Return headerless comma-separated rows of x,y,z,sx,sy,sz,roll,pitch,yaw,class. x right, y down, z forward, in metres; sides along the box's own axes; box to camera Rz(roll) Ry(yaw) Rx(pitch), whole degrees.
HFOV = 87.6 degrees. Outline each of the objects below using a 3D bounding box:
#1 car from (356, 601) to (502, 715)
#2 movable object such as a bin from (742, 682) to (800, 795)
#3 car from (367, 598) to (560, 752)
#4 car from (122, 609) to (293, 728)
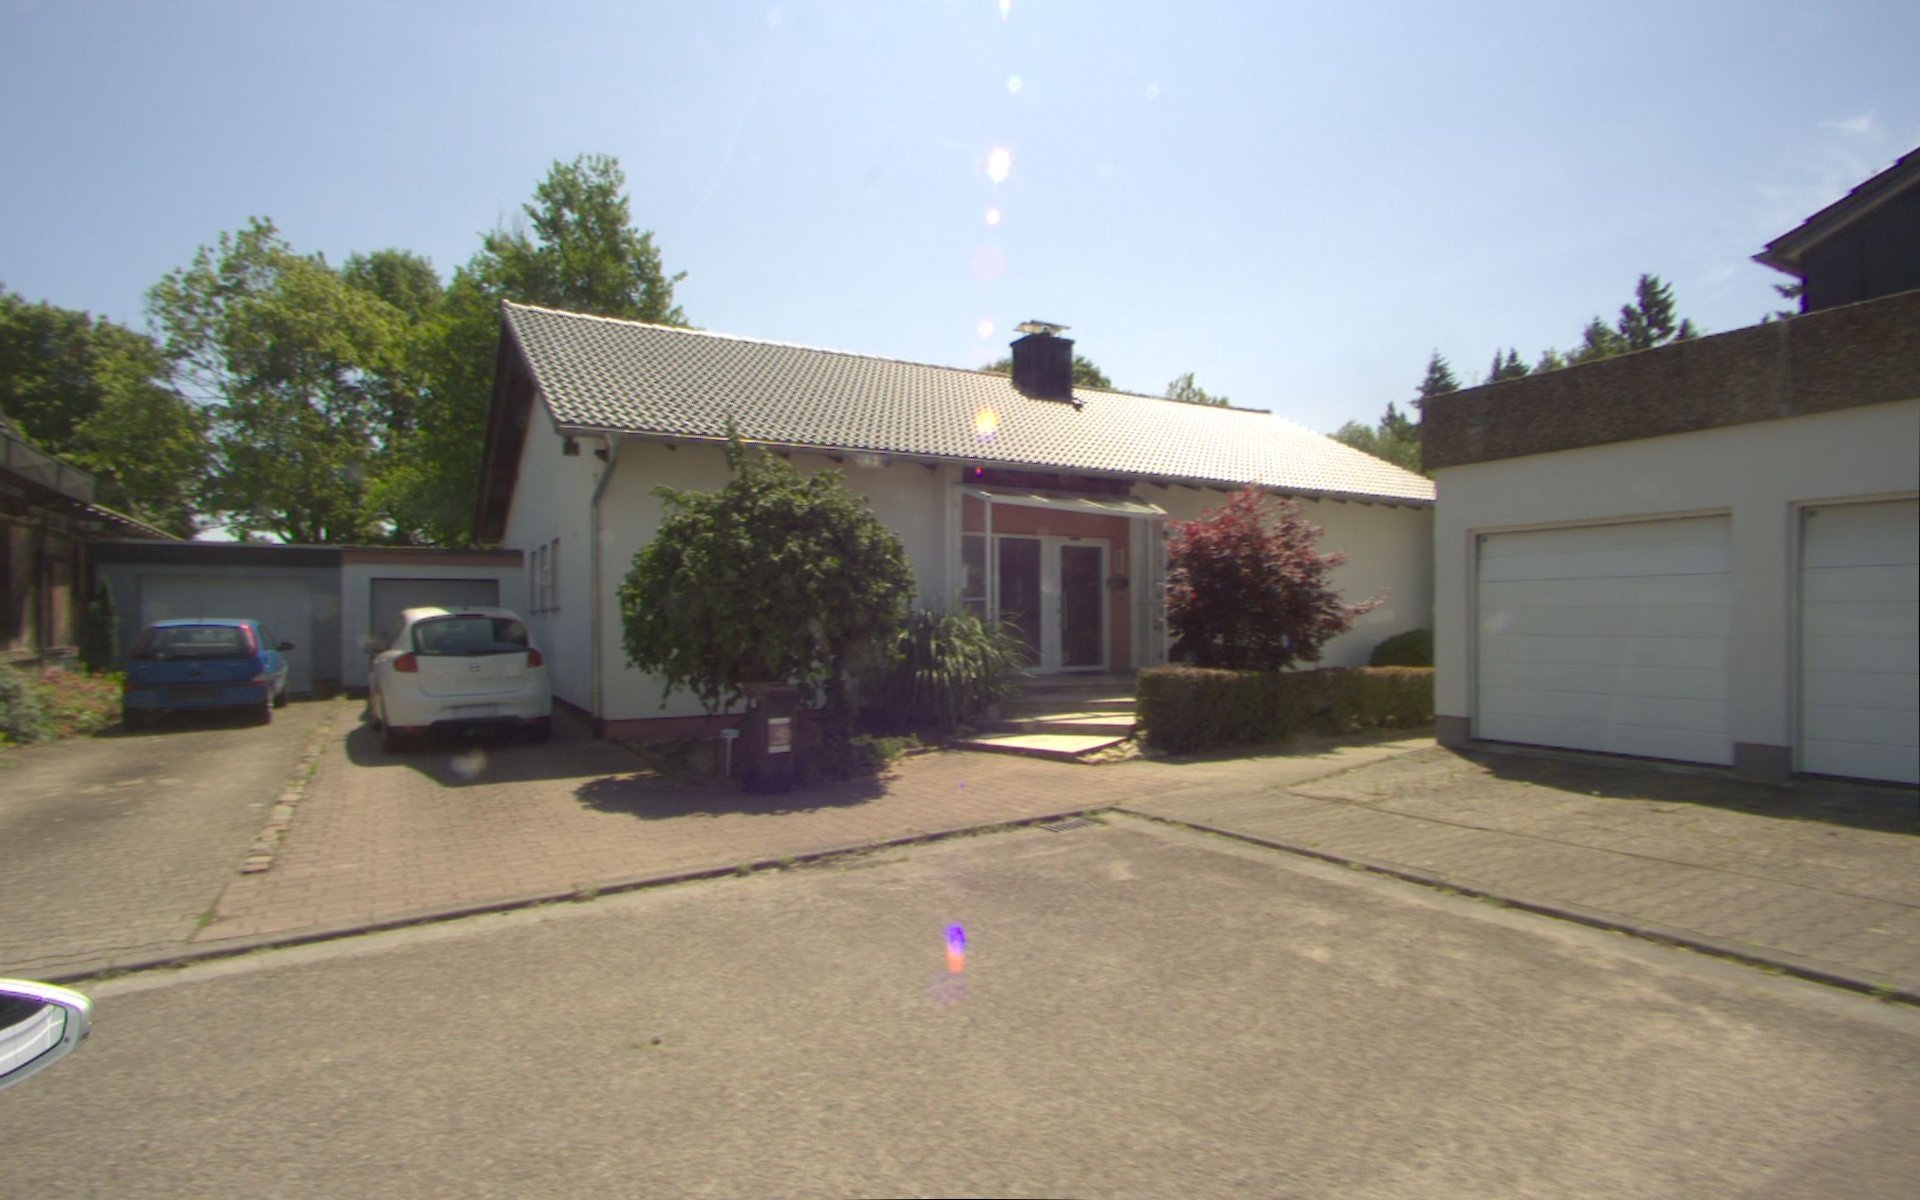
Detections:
-8.796,0.834,16.573,1.901,1.629,3.980,0,0,-29,car
-1.621,1.169,8.575,0.370,0.903,0.388,-1,0,-31,movable object such as a bin
-6.274,0.799,12.421,1.729,1.589,3.976,0,-1,-33,car
-10.830,0.900,14.615,1.597,1.474,3.236,1,0,-30,car
